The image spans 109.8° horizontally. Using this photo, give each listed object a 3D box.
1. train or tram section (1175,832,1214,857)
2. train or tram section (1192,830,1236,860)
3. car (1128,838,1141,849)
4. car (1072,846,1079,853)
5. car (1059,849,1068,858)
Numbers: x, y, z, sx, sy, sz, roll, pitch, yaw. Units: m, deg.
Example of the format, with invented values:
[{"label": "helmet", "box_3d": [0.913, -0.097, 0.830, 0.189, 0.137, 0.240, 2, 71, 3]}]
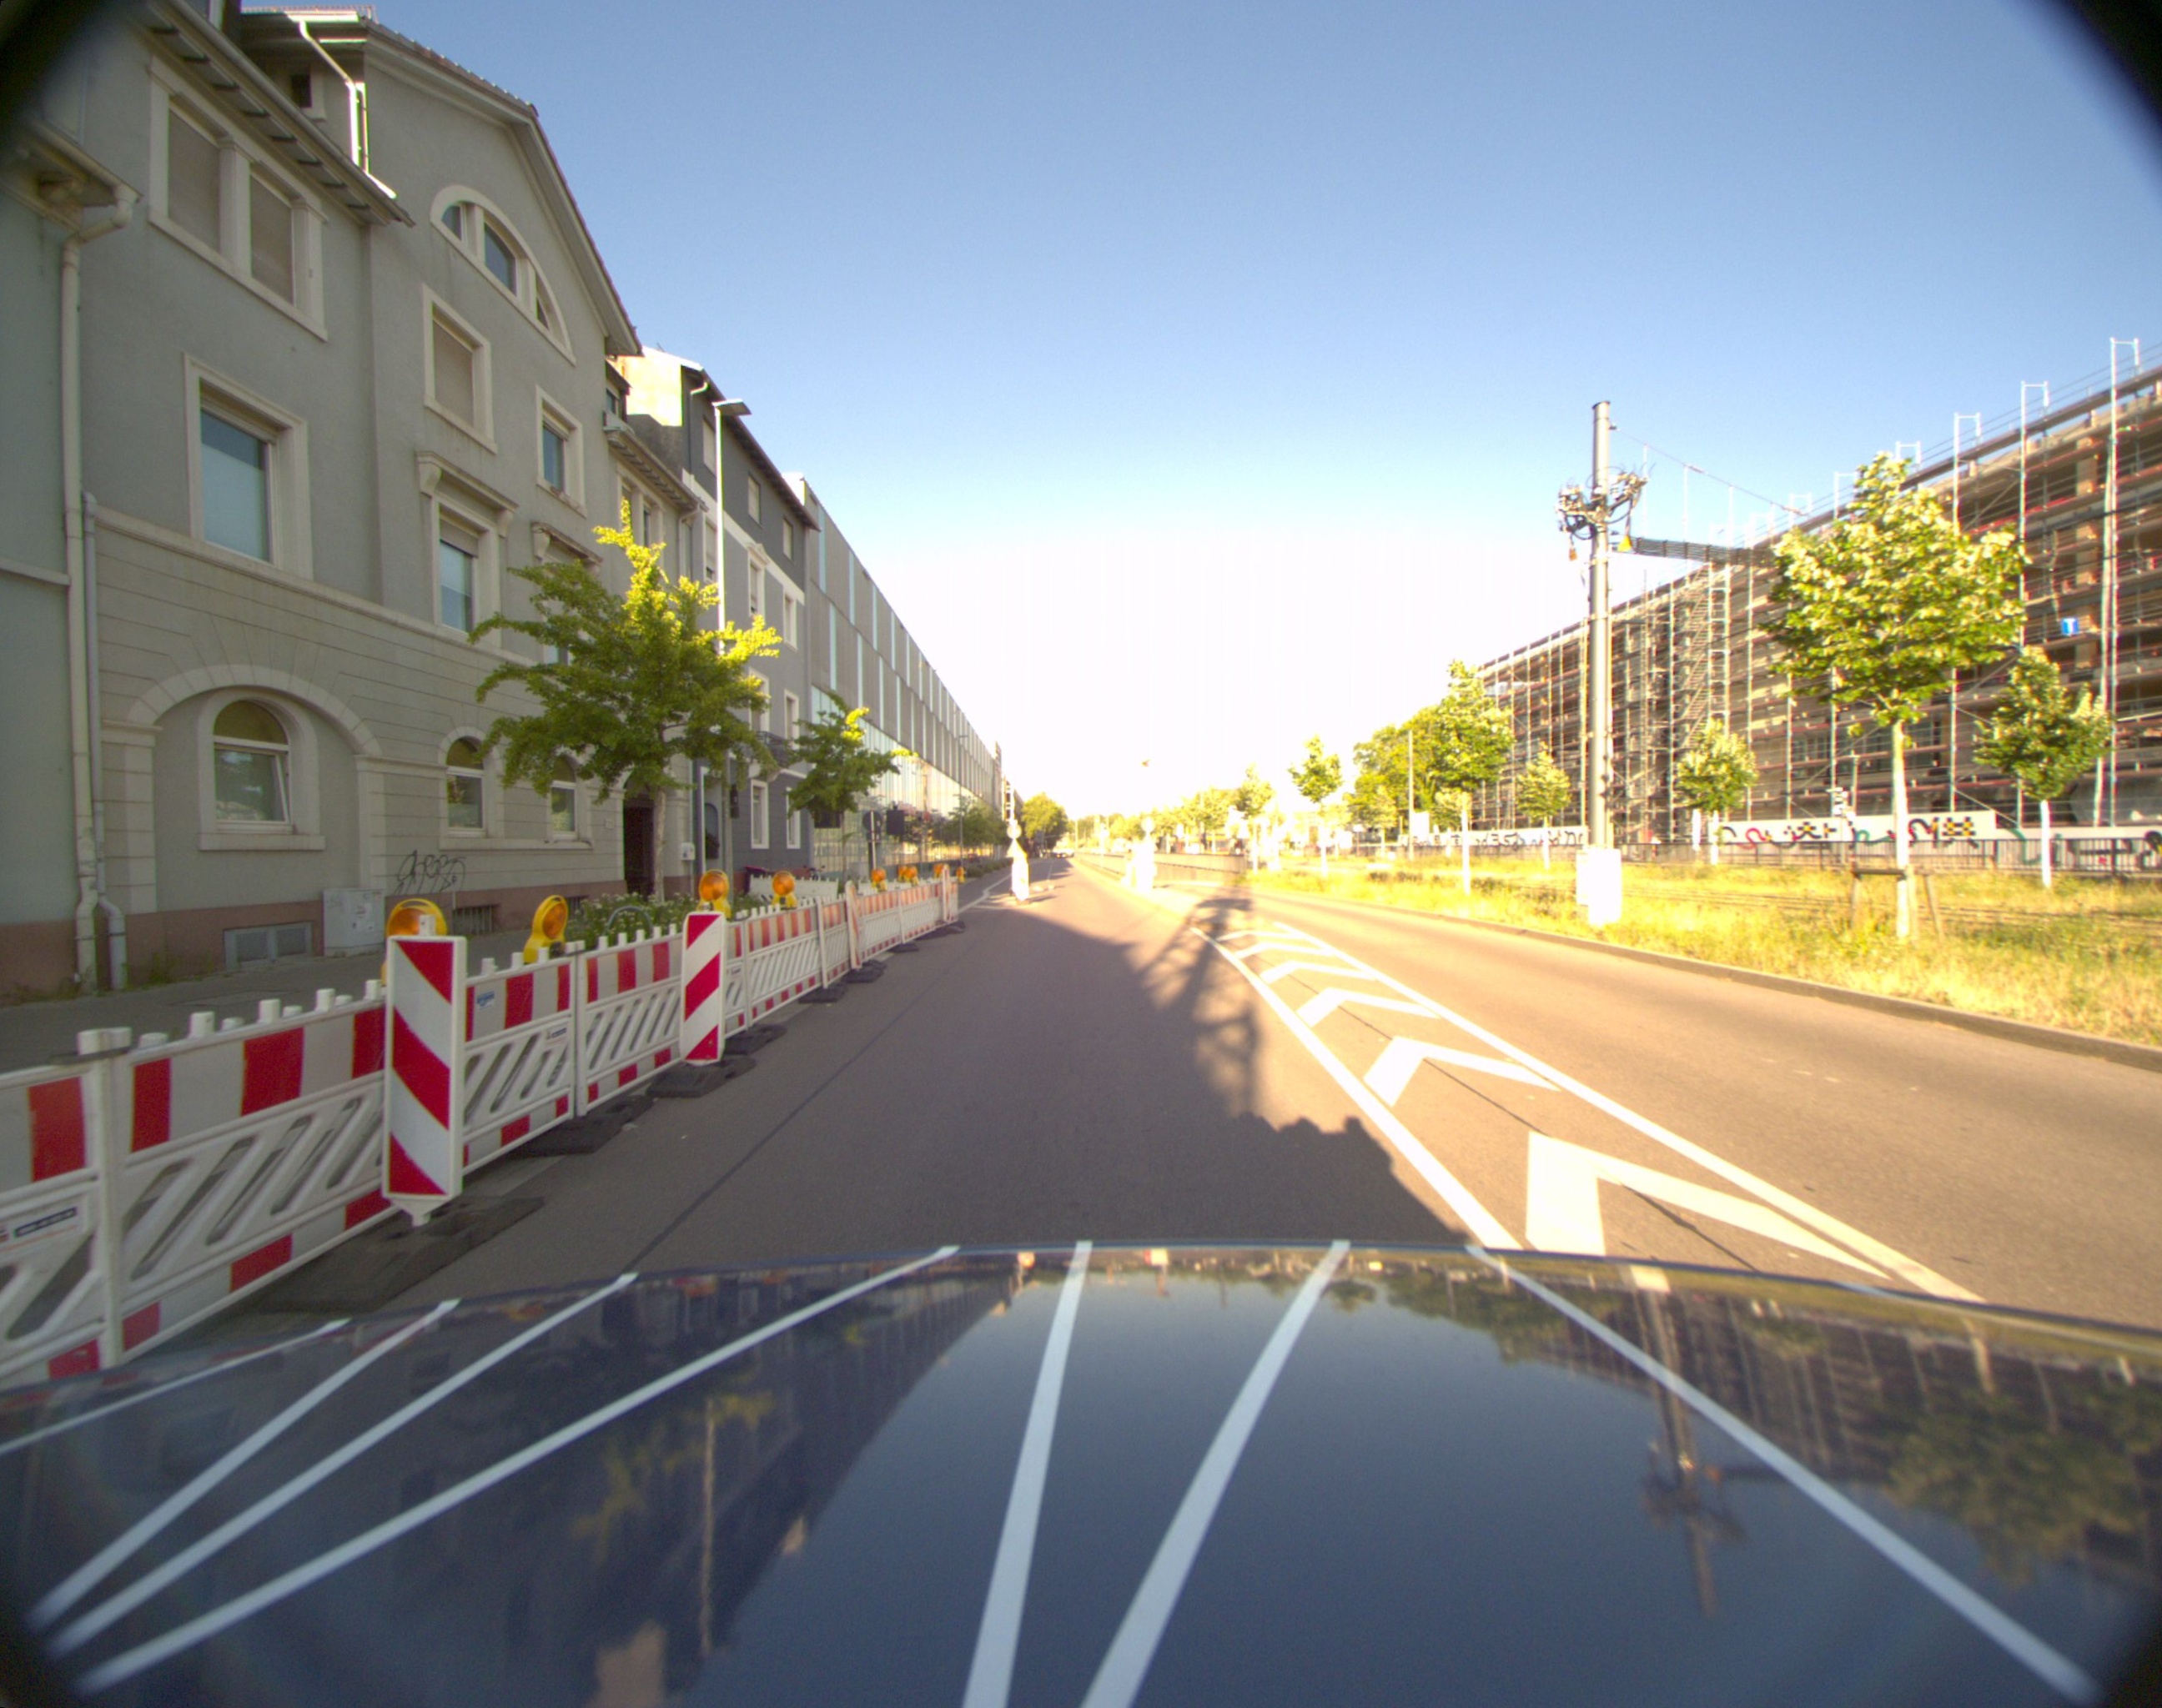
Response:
[{"label": "train or tram section", "box_3d": [16.293, -1.381, 110.026, 2.954, 3.378, 14.761, -2, 1, -1]}, {"label": "train or tram section", "box_3d": [16.654, -1.184, 96.376, 2.954, 3.378, 12.629, -2, 1, -1]}, {"label": "car", "box_3d": [9.202, -1.817, 130.985, 1.998, 1.740, 3.999, -2, 1, 1]}, {"label": "car", "box_3d": [-1.716, -1.448, 229.001, 1.941, 2.002, 3.825, -1, 1, -3]}, {"label": "car", "box_3d": [-4.350, -0.130, 189.442, 1.941, 2.002, 3.825, -1, 1, -3]}]
